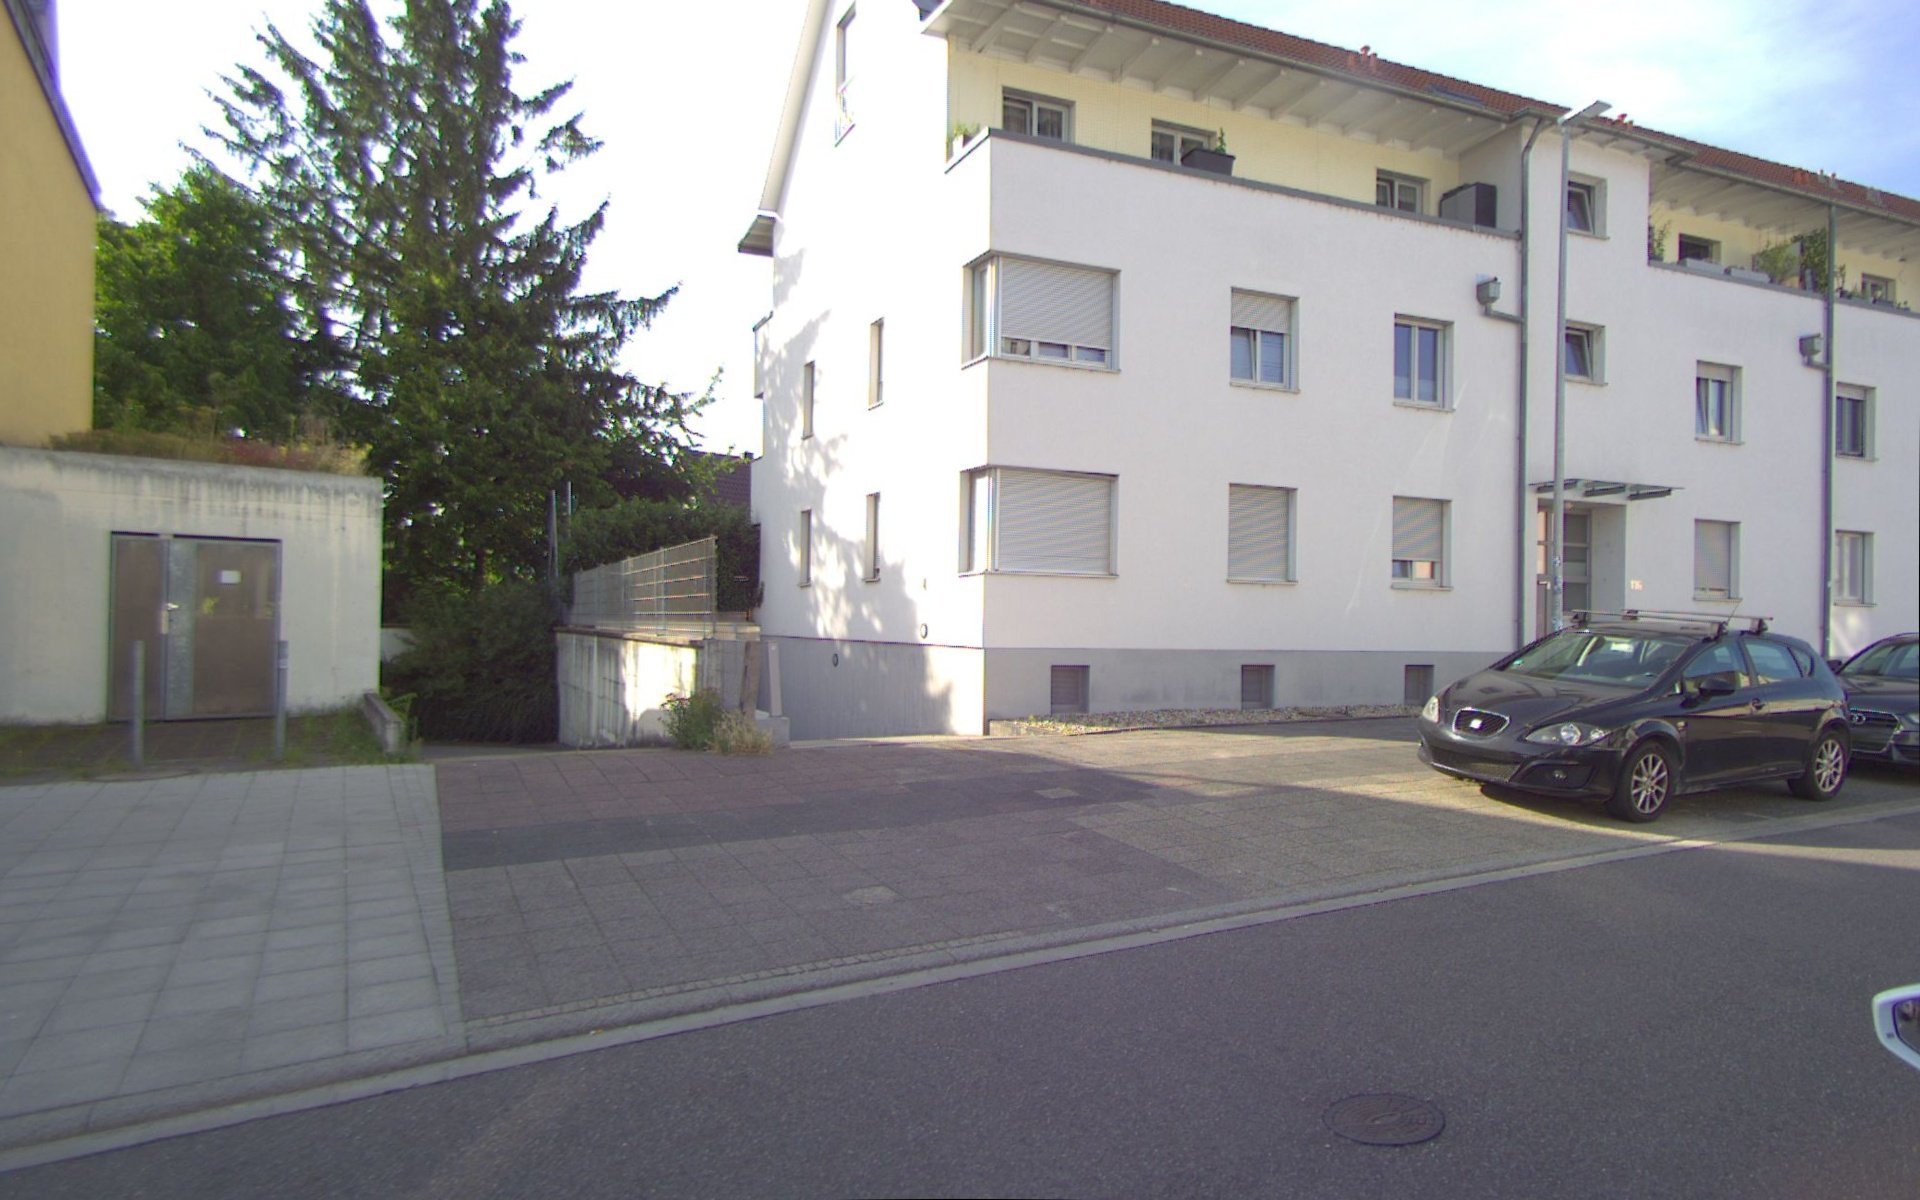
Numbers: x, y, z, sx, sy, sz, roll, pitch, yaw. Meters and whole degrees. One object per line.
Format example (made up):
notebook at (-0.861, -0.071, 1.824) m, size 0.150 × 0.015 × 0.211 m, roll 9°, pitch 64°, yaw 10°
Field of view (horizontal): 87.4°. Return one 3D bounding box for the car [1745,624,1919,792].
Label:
car at (10.654, 1.061, 10.720) m, size 4.441 × 1.497 × 1.722 m, roll 1°, pitch 0°, yaw -25°

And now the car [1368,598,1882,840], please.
car at (5.770, 0.879, 8.701) m, size 4.120 × 1.644 × 1.770 m, roll 1°, pitch 1°, yaw -25°
